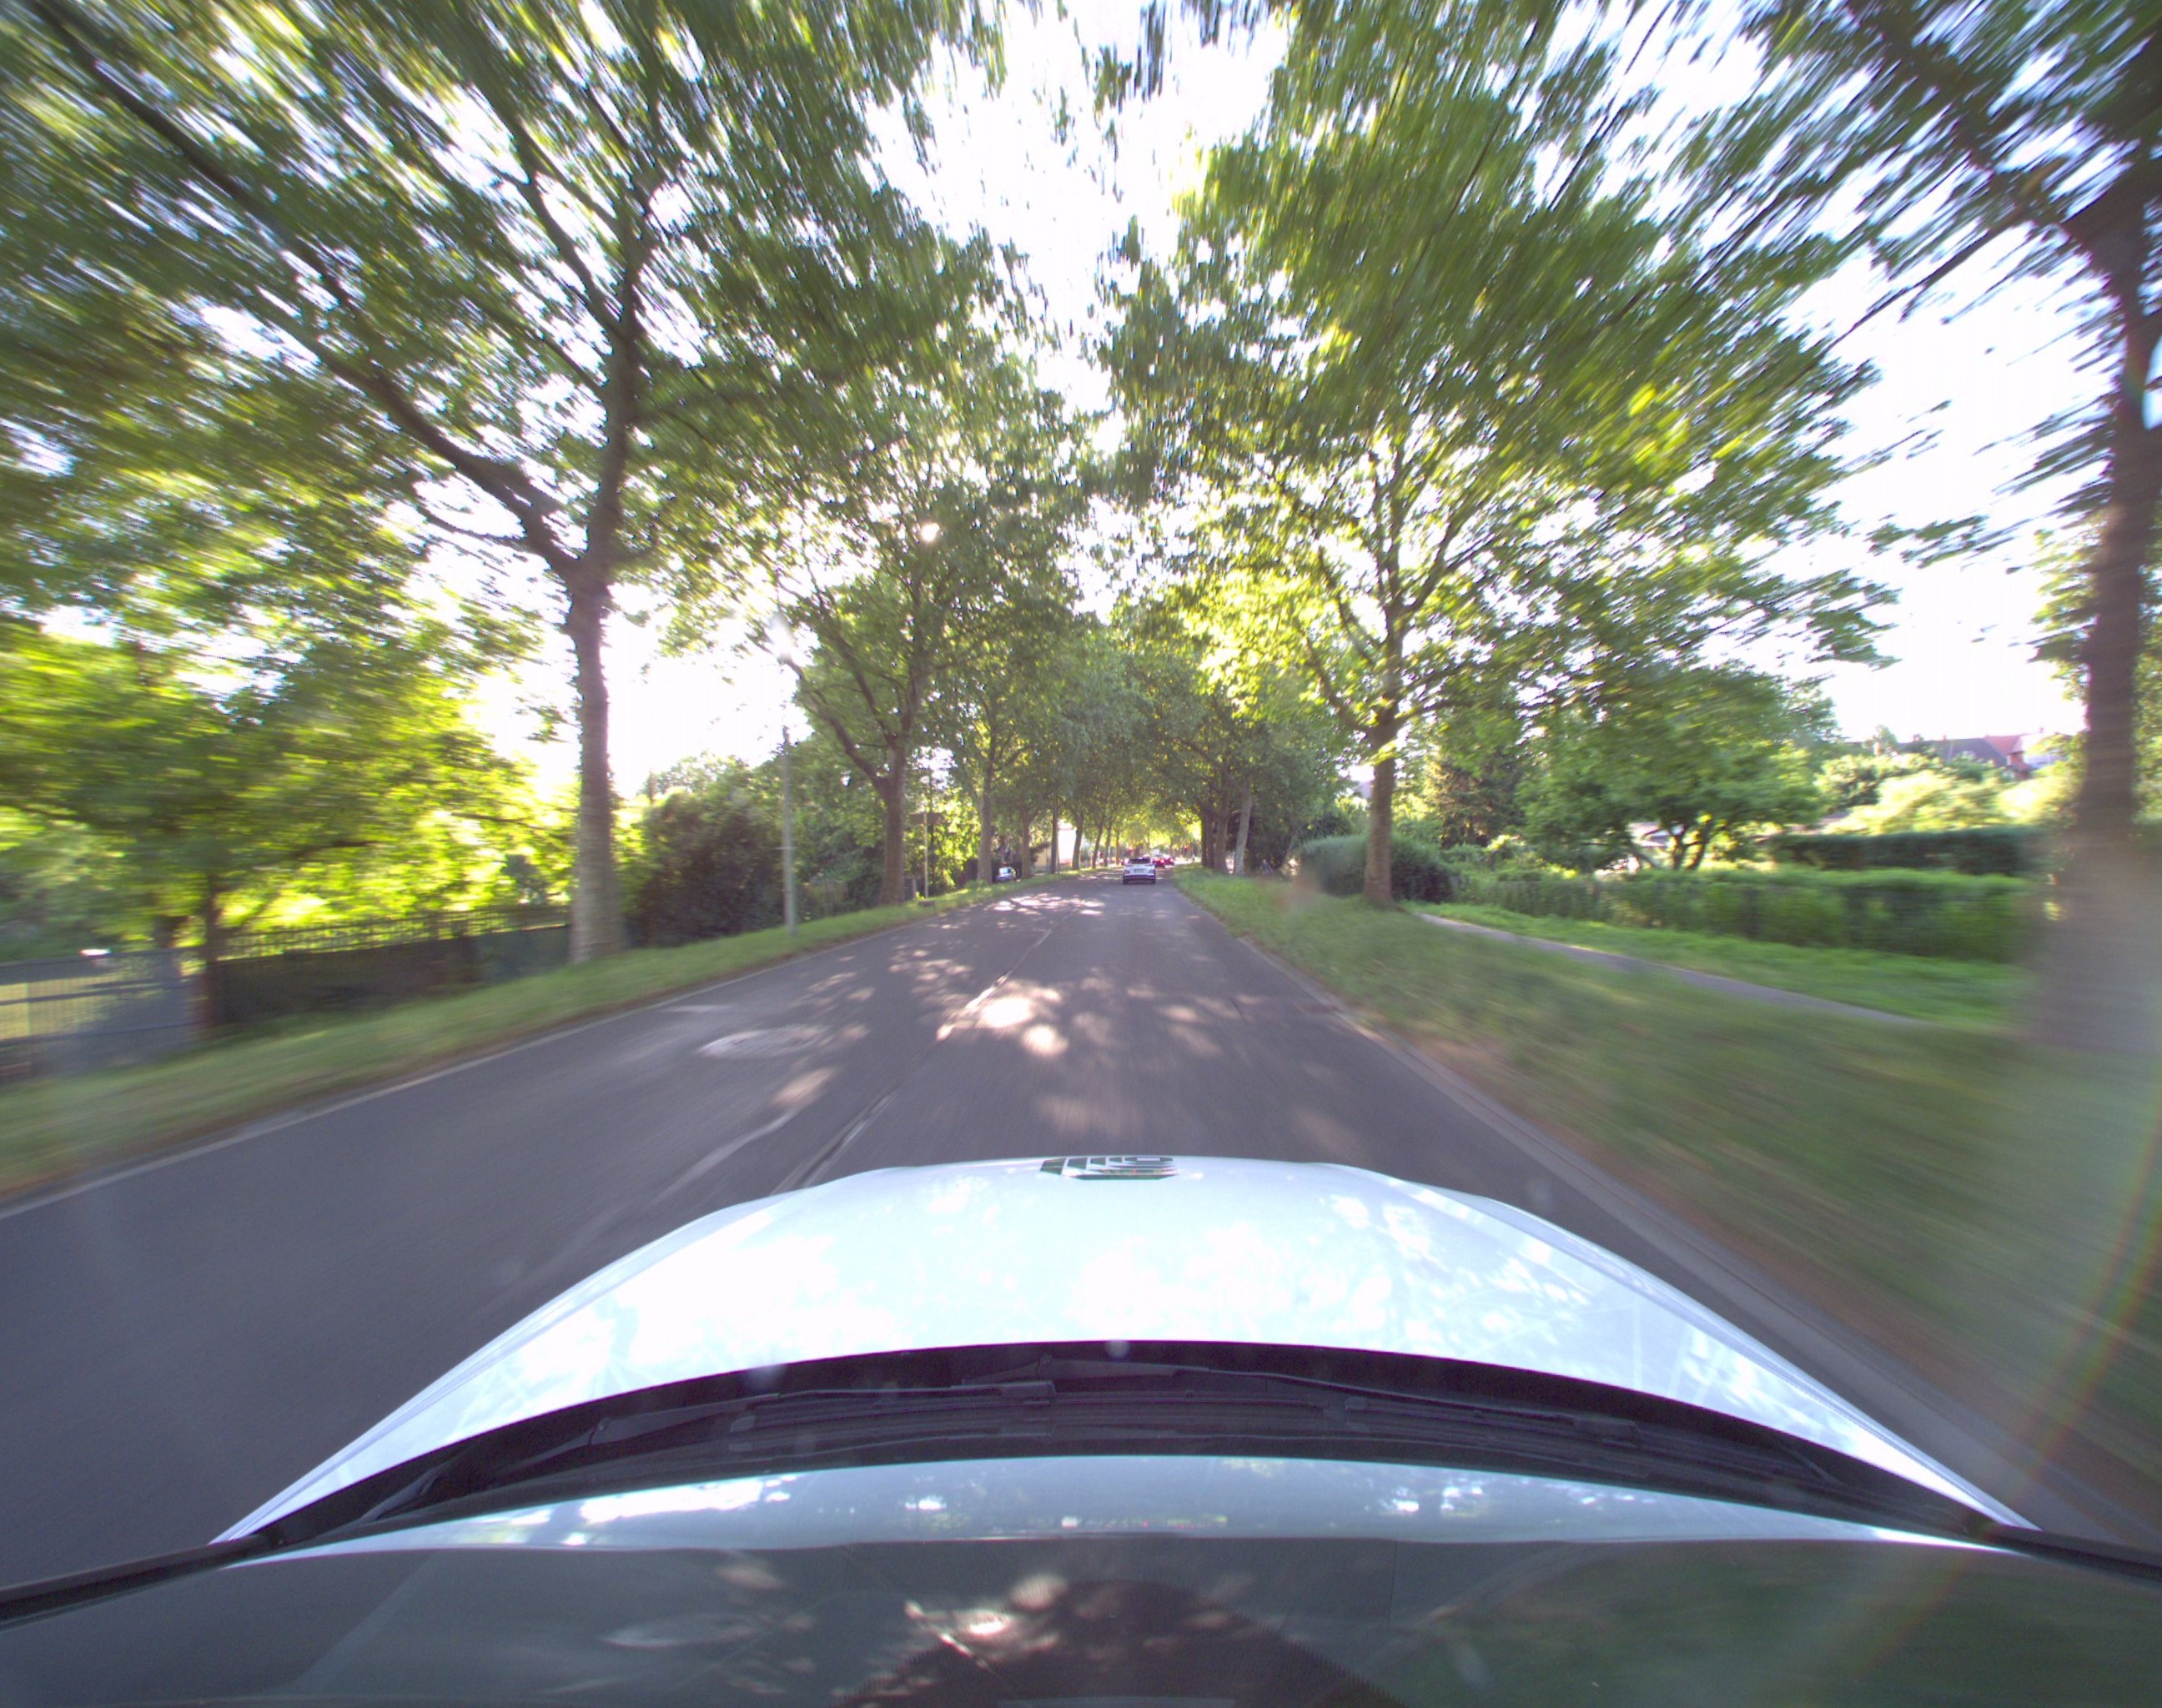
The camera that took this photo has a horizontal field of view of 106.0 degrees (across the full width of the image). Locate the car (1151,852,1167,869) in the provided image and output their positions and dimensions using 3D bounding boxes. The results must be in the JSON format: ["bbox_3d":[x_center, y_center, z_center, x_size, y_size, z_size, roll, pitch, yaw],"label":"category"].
[{"bbox_3d":[9.850,0.859,102.543,1.984,2.014,4.006,-1,-1,6],"label":"car"}]

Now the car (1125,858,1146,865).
[{"bbox_3d":[10.853,1.497,161.430,3.963,1.478,2.005,-1,-1,9],"label":"car"}]

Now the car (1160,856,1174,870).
[{"bbox_3d":[13.189,1.359,125.052,1.984,2.014,4.006,-1,-1,6],"label":"car"}]

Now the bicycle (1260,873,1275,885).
[{"bbox_3d":[13.080,1.761,57.167,0.551,0.817,1.887,-1,-1,-1],"label":"bicycle"}]

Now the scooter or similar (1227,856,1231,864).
[{"bbox_3d":[24.382,1.043,133.901,0.546,1.258,2.319,-1,-1,10],"label":"scooter or similar"}]

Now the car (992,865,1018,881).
[{"bbox_3d":[-7.014,1.740,75.521,1.745,1.304,4.003,-3,0,3],"label":"car"}]

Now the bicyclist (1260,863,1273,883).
[{"bbox_3d":[13.084,1.359,57.385,0.732,1.366,0.770,-1,-1,-1],"label":"bicyclist"}]

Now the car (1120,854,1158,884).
[{"bbox_3d":[3.318,0.851,46.003,1.984,1.574,4.005,-1,-1,5],"label":"car"}]
